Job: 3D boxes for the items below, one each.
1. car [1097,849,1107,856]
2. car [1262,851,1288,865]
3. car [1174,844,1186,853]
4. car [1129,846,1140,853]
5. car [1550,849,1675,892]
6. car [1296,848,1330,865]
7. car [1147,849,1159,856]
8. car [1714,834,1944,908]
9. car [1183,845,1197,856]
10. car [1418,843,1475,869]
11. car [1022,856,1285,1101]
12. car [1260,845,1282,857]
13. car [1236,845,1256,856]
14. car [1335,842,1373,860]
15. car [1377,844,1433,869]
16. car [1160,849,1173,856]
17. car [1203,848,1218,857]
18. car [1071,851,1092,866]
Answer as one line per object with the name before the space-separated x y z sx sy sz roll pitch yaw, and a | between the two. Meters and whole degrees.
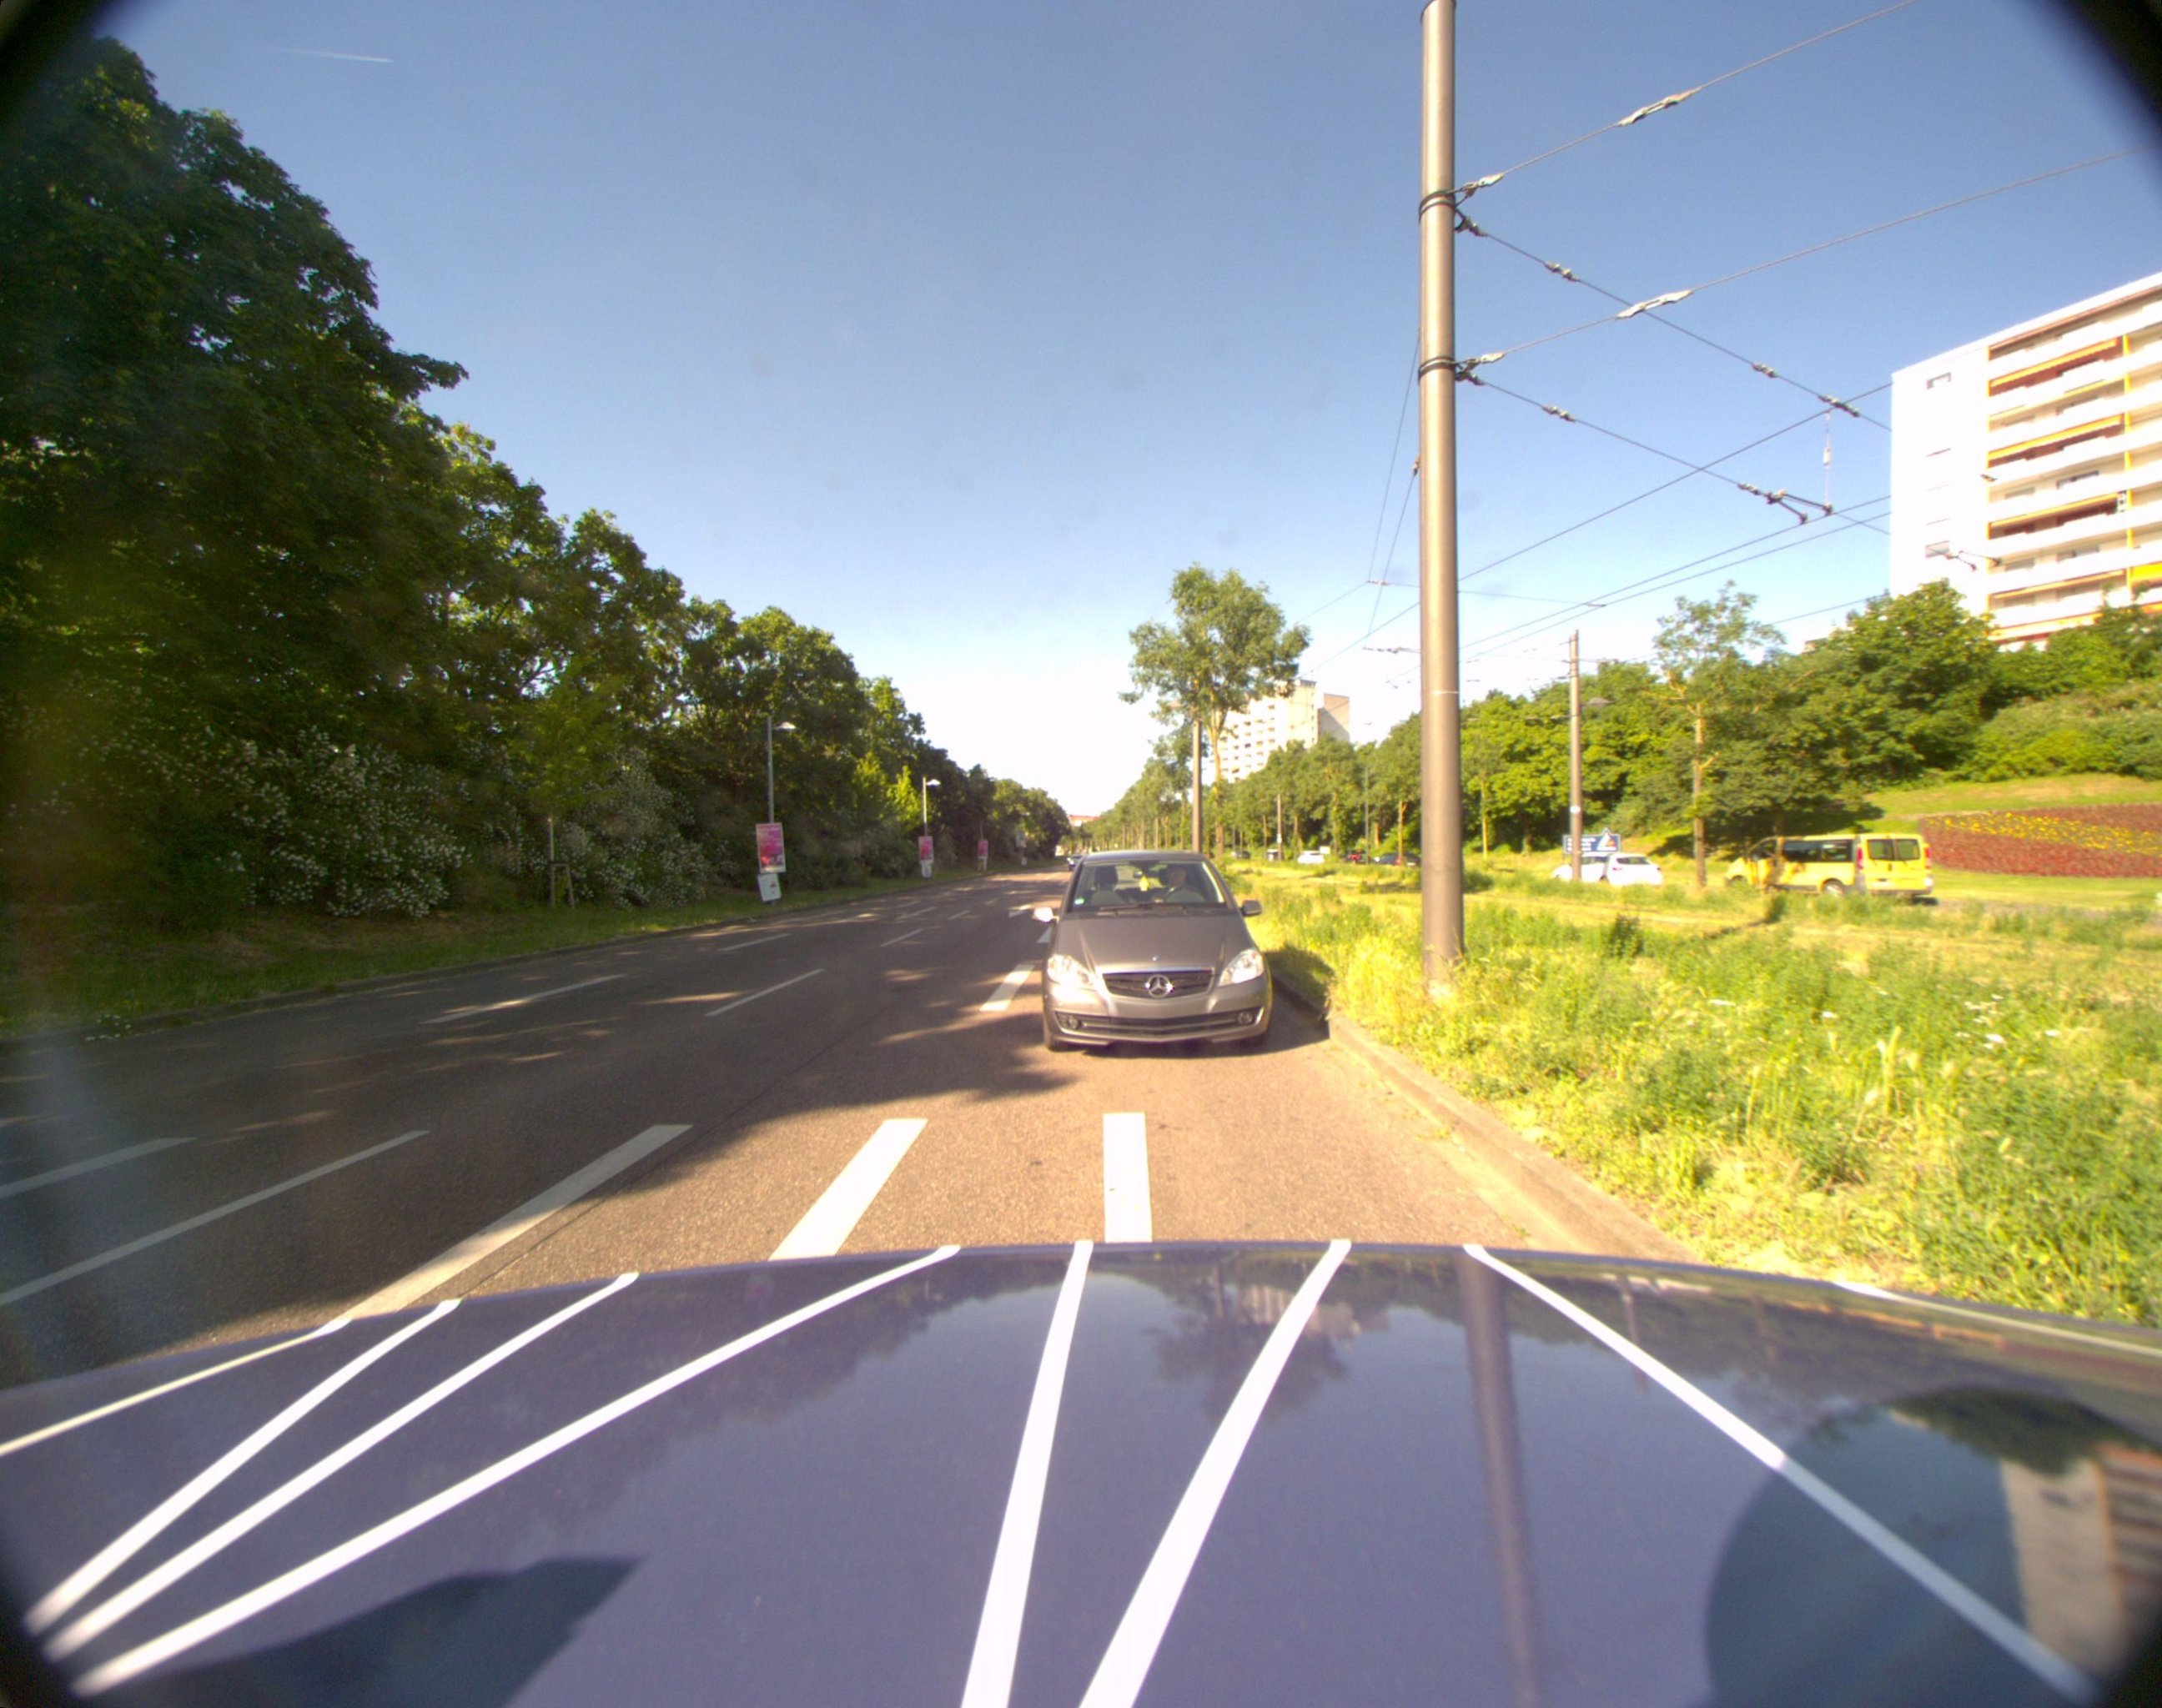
car | 6.328 -0.496 233.927 1.944 2.002 3.994 -1 0 -17
car | 20.139 0.370 79.095 1.825 1.353 4.230 -1 0 3
car | 20.010 -1.040 153.726 1.882 1.755 4.000 -1 0 1
car | 14.515 -1.233 205.995 1.884 1.755 3.994 -1 0 -15
car | 18.700 0.535 26.967 1.693 1.399 4.021 -1 0 1
car | 19.894 0.220 65.194 1.867 1.410 4.000 -1 0 3
car | 17.215 -0.411 182.451 1.911 1.652 3.996 -1 0 -10
car | 21.738 0.456 22.457 1.998 1.955 4.907 0 0 1
car | 18.228 -0.597 127.205 1.882 1.755 4.000 -1 0 1
car | 22.954 0.111 47.888 1.792 1.499 4.241 -1 0 4
car | 0.520 0.851 7.094 1.759 1.612 3.880 -1 0 1
car | 22.502 -0.372 90.098 1.847 1.390 4.000 -1 0 2
car | 22.986 -0.553 105.875 1.998 1.477 4.000 -1 0 1
car | 22.960 -0.253 63.975 1.867 1.410 4.000 -1 0 1
car | 19.612 0.150 46.137 1.799 1.408 4.311 -1 0 4
car | 19.332 -0.373 171.511 1.911 1.652 3.996 -1 0 -10
car | 21.543 -0.230 126.647 1.802 1.455 4.000 -1 0 1
car | 0.080 0.391 75.091 1.875 1.428 4.594 -1 0 2
